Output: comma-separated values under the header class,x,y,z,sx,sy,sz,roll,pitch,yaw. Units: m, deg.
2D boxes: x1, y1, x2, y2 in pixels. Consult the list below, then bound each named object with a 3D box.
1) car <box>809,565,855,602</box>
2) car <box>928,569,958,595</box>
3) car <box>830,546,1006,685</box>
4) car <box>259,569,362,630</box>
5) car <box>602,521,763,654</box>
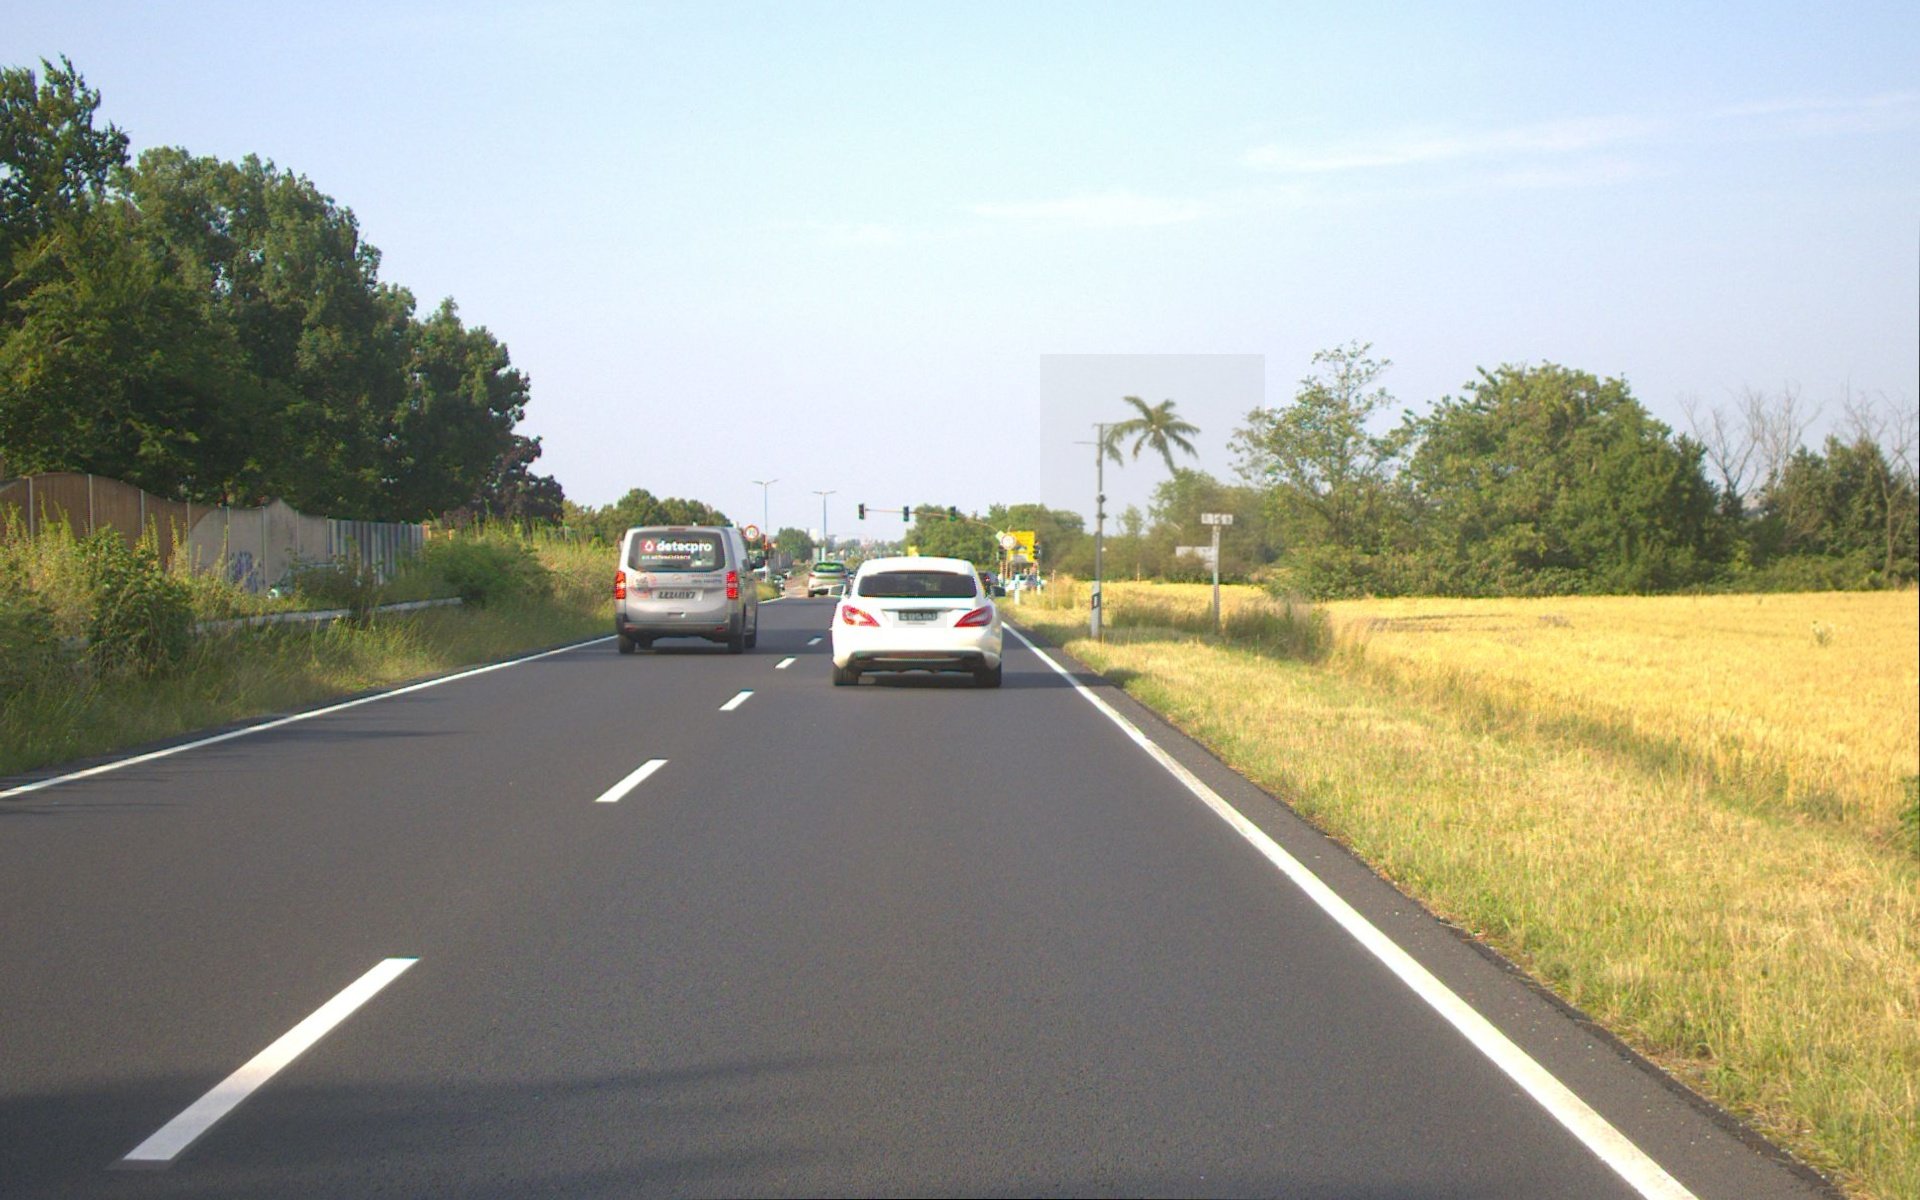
class,x,y,z,sx,sy,sz,roll,pitch,yaw
car,-5.177,-0.676,139.298,1.717,1.487,3.585,1,0,-1
car,-1.028,-1.087,208.220,1.754,1.511,4.000,-1,0,0
car,-0.496,0.151,39.007,1.894,1.503,4.000,0,0,-1
car,-15.317,-0.026,81.235,1.648,1.356,4.290,2,0,-1
car,-4.137,-0.223,51.899,2.025,1.885,4.958,1,1,0
